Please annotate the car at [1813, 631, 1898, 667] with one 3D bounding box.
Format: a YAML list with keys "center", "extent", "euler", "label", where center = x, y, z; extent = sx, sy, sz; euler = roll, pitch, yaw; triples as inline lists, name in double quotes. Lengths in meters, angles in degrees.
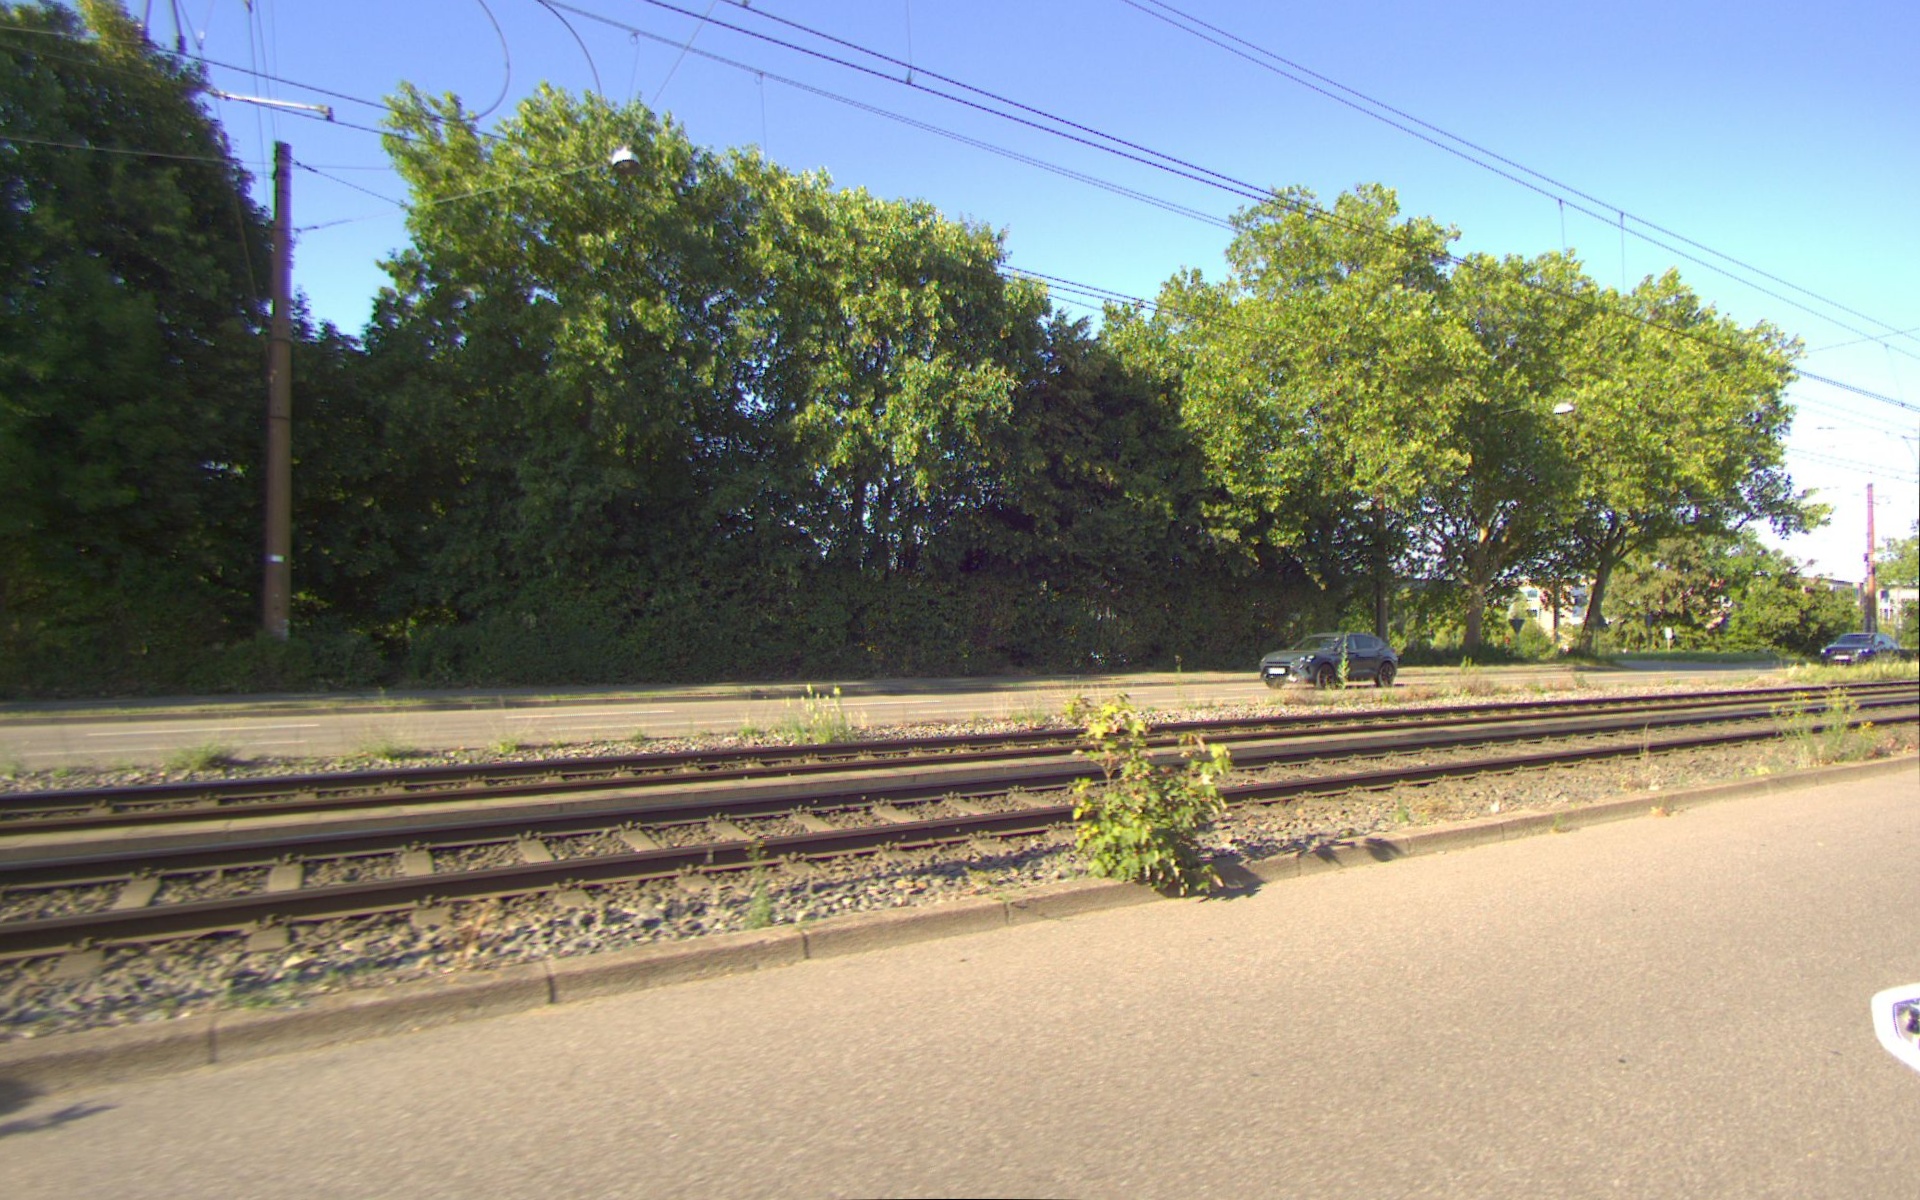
- center: [43.874, 2.402, 49.180]
  extent: [4.888, 1.716, 1.888]
  euler: [2, -3, -33]
  label: "car"

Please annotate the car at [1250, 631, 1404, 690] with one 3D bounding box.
- center: [10.020, 1.623, 27.339]
  extent: [4.301, 1.487, 1.701]
  euler: [1, -4, -33]
  label: "car"
